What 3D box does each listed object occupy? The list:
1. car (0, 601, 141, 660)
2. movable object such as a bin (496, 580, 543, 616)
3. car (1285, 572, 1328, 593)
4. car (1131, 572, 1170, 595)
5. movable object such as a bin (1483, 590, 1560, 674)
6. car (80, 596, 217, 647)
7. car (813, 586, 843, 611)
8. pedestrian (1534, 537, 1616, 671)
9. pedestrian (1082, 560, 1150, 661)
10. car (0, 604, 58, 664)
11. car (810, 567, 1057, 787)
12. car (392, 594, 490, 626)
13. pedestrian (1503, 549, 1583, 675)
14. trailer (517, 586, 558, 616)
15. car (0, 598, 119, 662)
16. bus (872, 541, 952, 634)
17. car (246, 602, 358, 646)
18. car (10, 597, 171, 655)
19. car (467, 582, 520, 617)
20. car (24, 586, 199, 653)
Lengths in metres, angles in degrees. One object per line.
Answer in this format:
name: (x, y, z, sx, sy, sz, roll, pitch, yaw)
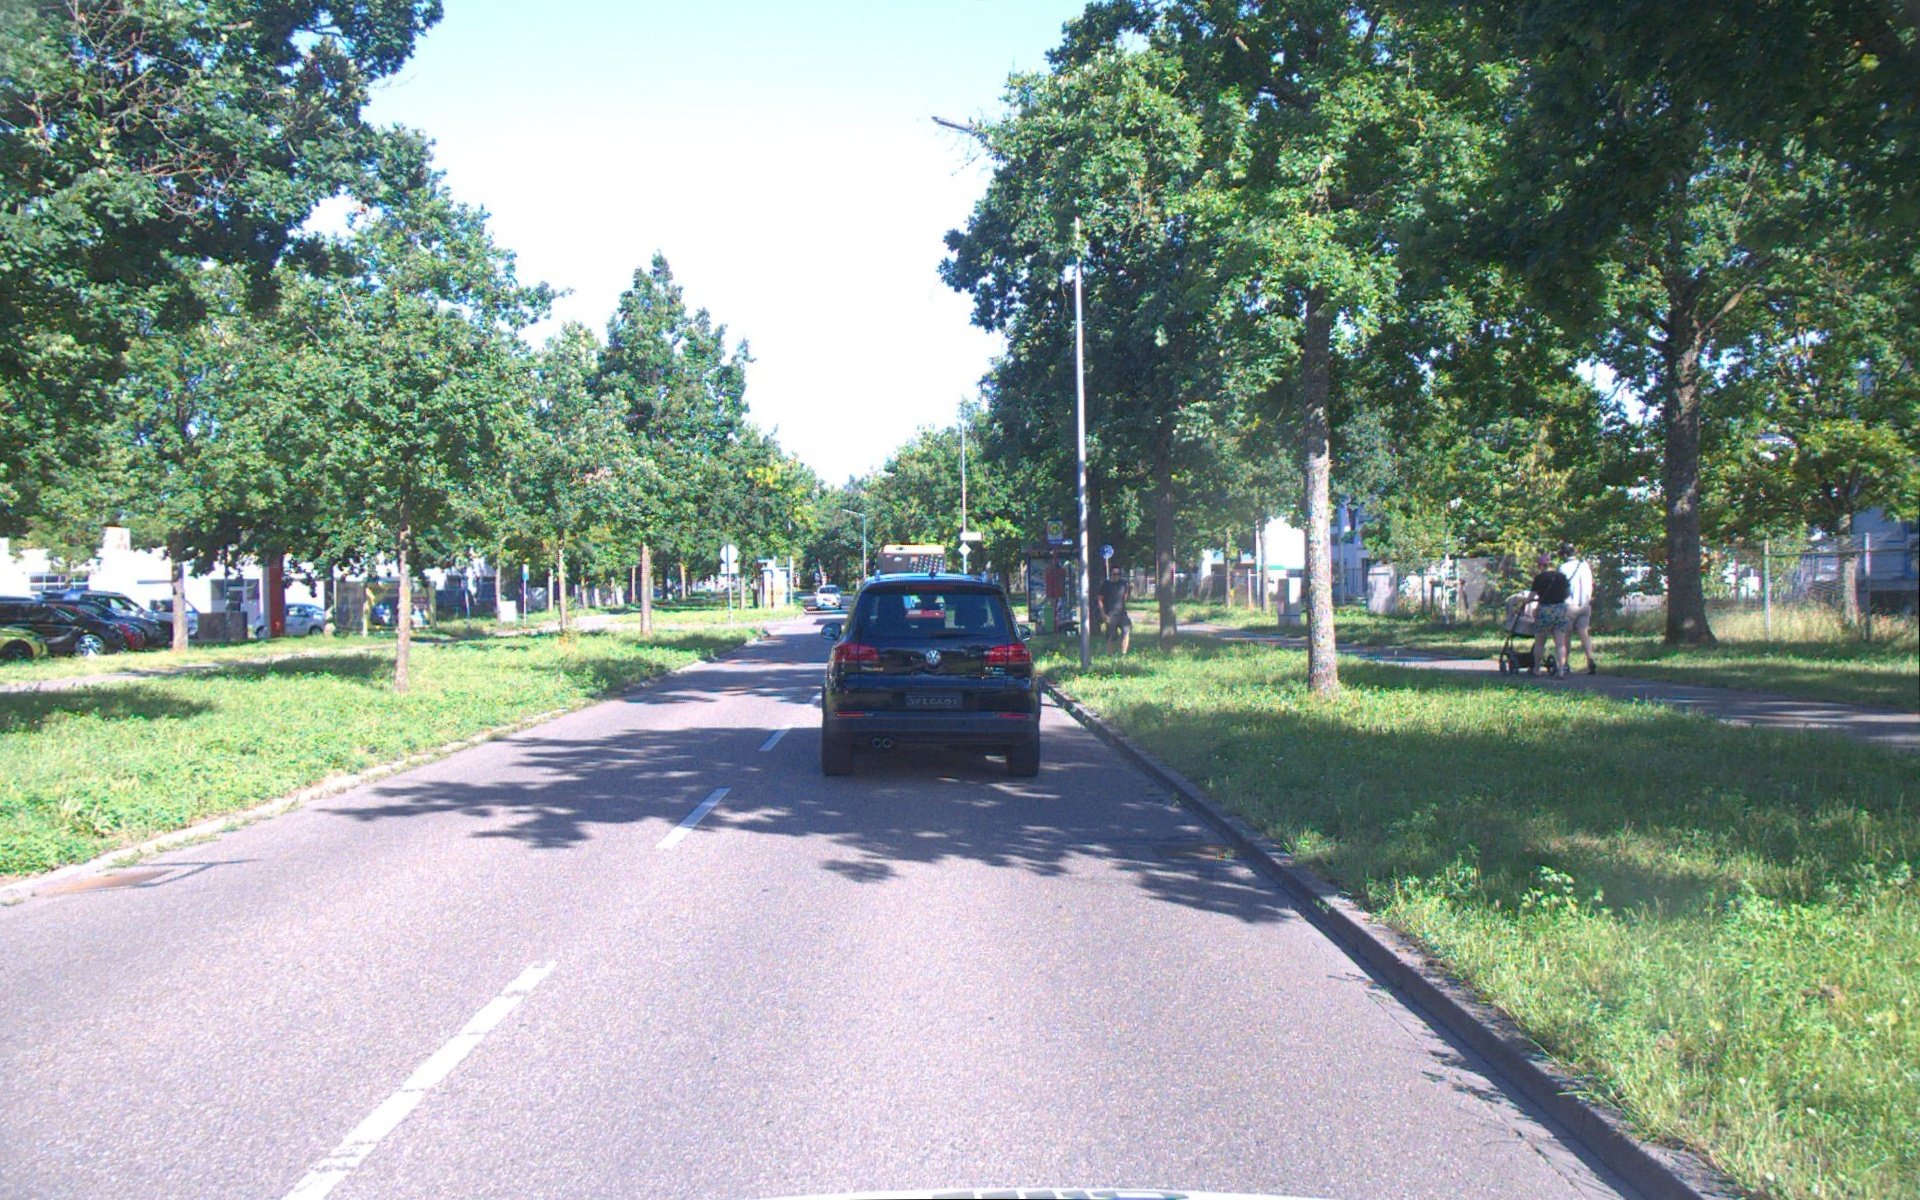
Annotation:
car: (-25.544, 0.839, 46.520, 4.132, 1.517, 1.971, -2, 1, -41)
movable object such as a bin: (-28.726, -0.172, 107.990, 2.060, 2.255, 4.458, -1, 1, -3)
car: (23.587, -1.203, 112.653, 1.731, 1.408, 3.762, -1, 1, -7)
car: (15.369, -1.319, 133.639, 2.142, 1.774, 4.635, -1, 1, -6)
movable object such as a bin: (7.773, 0.434, 22.930, 0.711, 1.100, 0.867, -3, 0, -2)
car: (-33.047, 0.858, 67.358, 4.903, 1.939, 1.943, -1, 0, 14)
car: (-8.201, -0.112, 102.716, 1.710, 1.490, 4.422, -2, 1, -6)
pedestrian: (8.479, 0.050, 22.835, 0.711, 1.785, 0.867, -3, 0, -2)
pedestrian: (2.690, 0.170, 28.613, 0.999, 1.680, 1.099, -1, 0, -2)
car: (-24.390, 0.857, 40.265, 3.922, 1.426, 1.968, -2, 1, -43)
car: (-0.260, 0.560, 14.938, 1.897, 1.685, 4.426, 0, 1, -2)
car: (-26.976, 0.507, 86.038, 4.407, 1.505, 1.942, -1, 0, 3)
pedestrian: (7.764, 0.150, 22.050, 0.711, 1.631, 0.867, -1, 0, -2)
trailer: (-29.356, 0.044, 115.095, 2.061, 1.948, 3.738, -1, 1, -3)
car: (-24.623, 0.790, 43.464, 4.137, 1.565, 1.866, -2, 1, -43)
bus: (-2.142, -0.542, 68.884, 2.710, 3.517, 11.201, -1, 1, -4)
car: (-26.285, 0.946, 66.130, 3.662, 1.646, 1.965, -1, 0, 13)
car: (-26.244, 0.744, 49.946, 4.119, 1.589, 1.977, -2, 1, -34)
car: (-28.659, -0.051, 101.860, 1.996, 2.023, 5.801, -1, 1, -5)
car: (-28.065, 0.620, 54.799, 4.820, 2.049, 1.968, -2, 1, -44)
